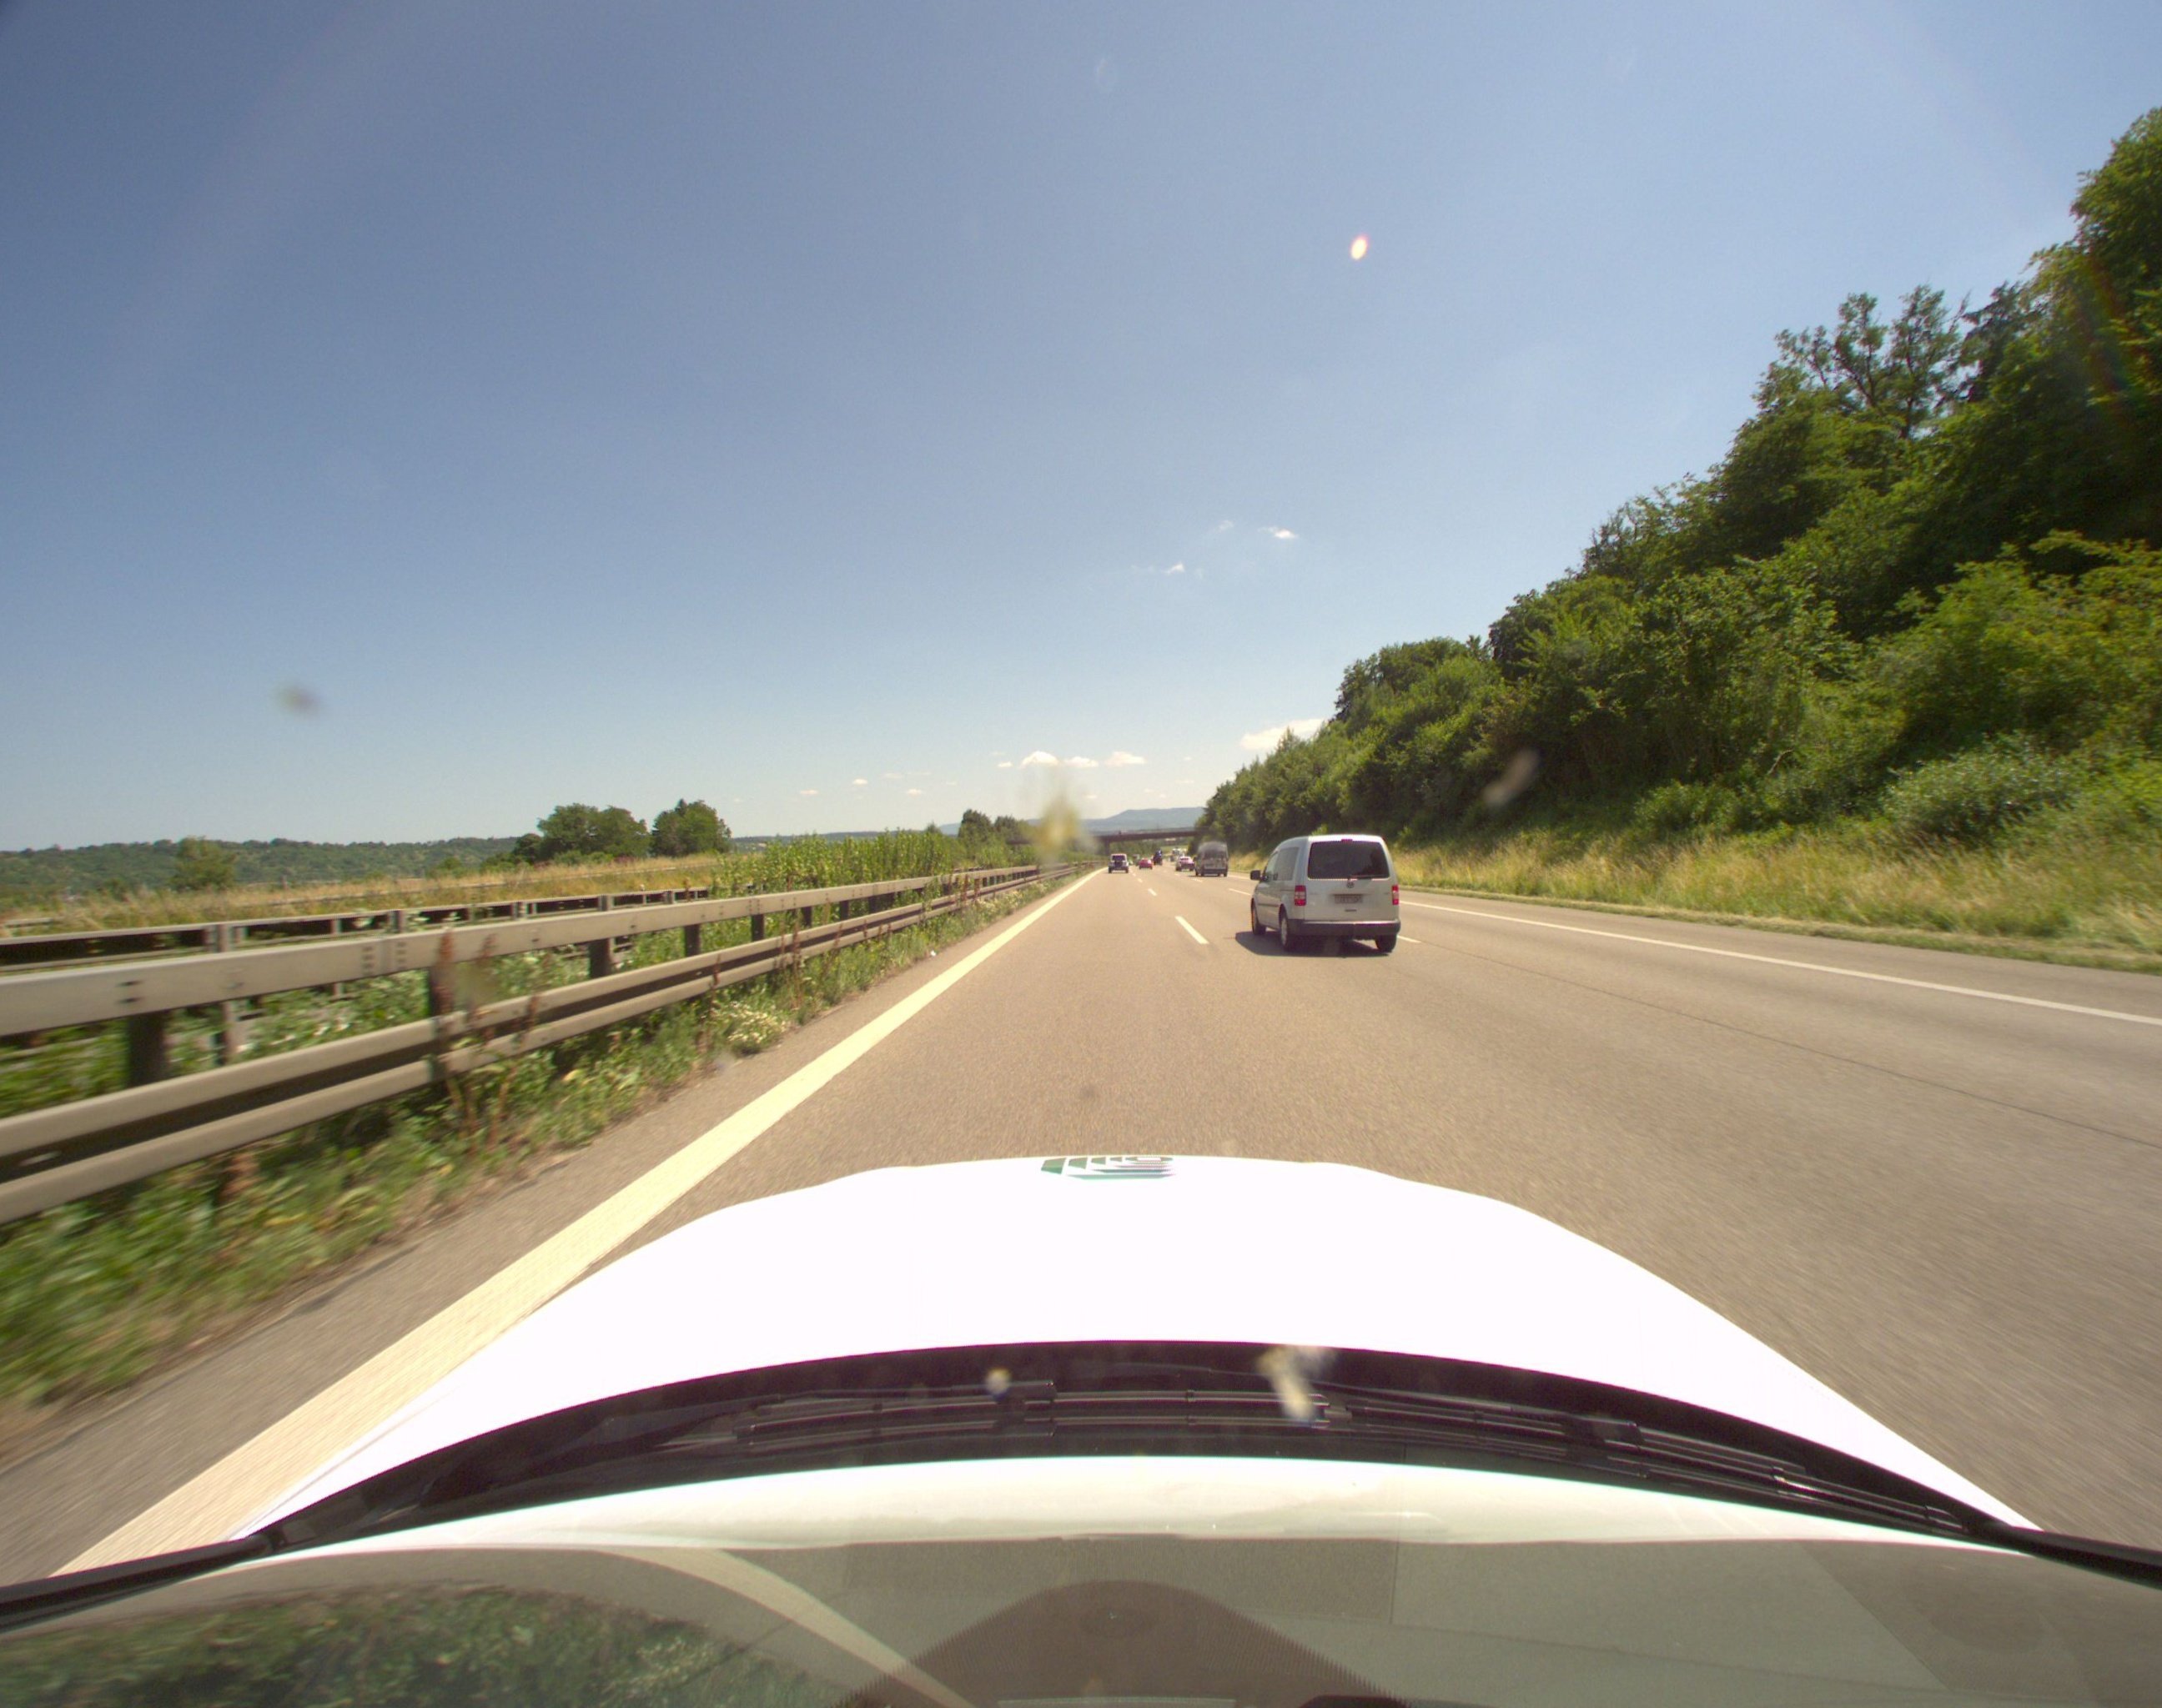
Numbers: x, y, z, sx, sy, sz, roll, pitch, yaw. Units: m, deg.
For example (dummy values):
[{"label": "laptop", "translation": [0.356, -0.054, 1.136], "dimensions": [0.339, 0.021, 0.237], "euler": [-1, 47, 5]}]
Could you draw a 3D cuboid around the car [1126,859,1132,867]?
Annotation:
[{"label": "car", "translation": [12.966, 2.367, 219.021], "dimensions": [1.691, 2.013, 3.825], "euler": [0, 0, 3]}]

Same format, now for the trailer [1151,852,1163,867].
[{"label": "trailer", "translation": [22.199, 1.550, 235.875], "dimensions": [2.839, 3.993, 15.430], "euler": [0, 0, 8]}]

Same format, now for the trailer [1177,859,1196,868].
[{"label": "trailer", "translation": [11.555, 0.994, 89.483], "dimensions": [1.747, 0.908, 4.322], "euler": [0, 0, 2]}]

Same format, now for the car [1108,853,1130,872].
[{"label": "car", "translation": [3.788, 0.790, 80.121], "dimensions": [2.074, 1.829, 4.759], "euler": [0, 0, 4]}]

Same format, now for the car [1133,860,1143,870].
[{"label": "car", "translation": [11.841, 2.312, 168.118], "dimensions": [1.985, 2.013, 4.003], "euler": [0, 0, 2]}]

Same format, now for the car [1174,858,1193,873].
[{"label": "car", "translation": [11.768, 1.306, 93.853], "dimensions": [1.774, 1.650, 4.405], "euler": [0, 0, 2]}]

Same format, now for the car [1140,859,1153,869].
[{"label": "car", "translation": [8.989, 1.361, 112.389], "dimensions": [1.679, 1.379, 3.951], "euler": [0, 0, 3]}]

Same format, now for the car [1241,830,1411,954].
[{"label": "car", "translation": [4.085, 0.541, 14.415], "dimensions": [1.739, 1.829, 4.804], "euler": [0, 0, 2]}]

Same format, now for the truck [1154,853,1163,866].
[{"label": "truck", "translation": [23.172, 1.502, 243.332], "dimensions": [2.739, 3.852, 6.657], "euler": [0, 0, 7]}]

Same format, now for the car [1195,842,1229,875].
[{"label": "car", "translation": [10.471, 0.319, 65.434], "dimensions": [2.080, 2.576, 6.628], "euler": [0, 0, 3]}]
